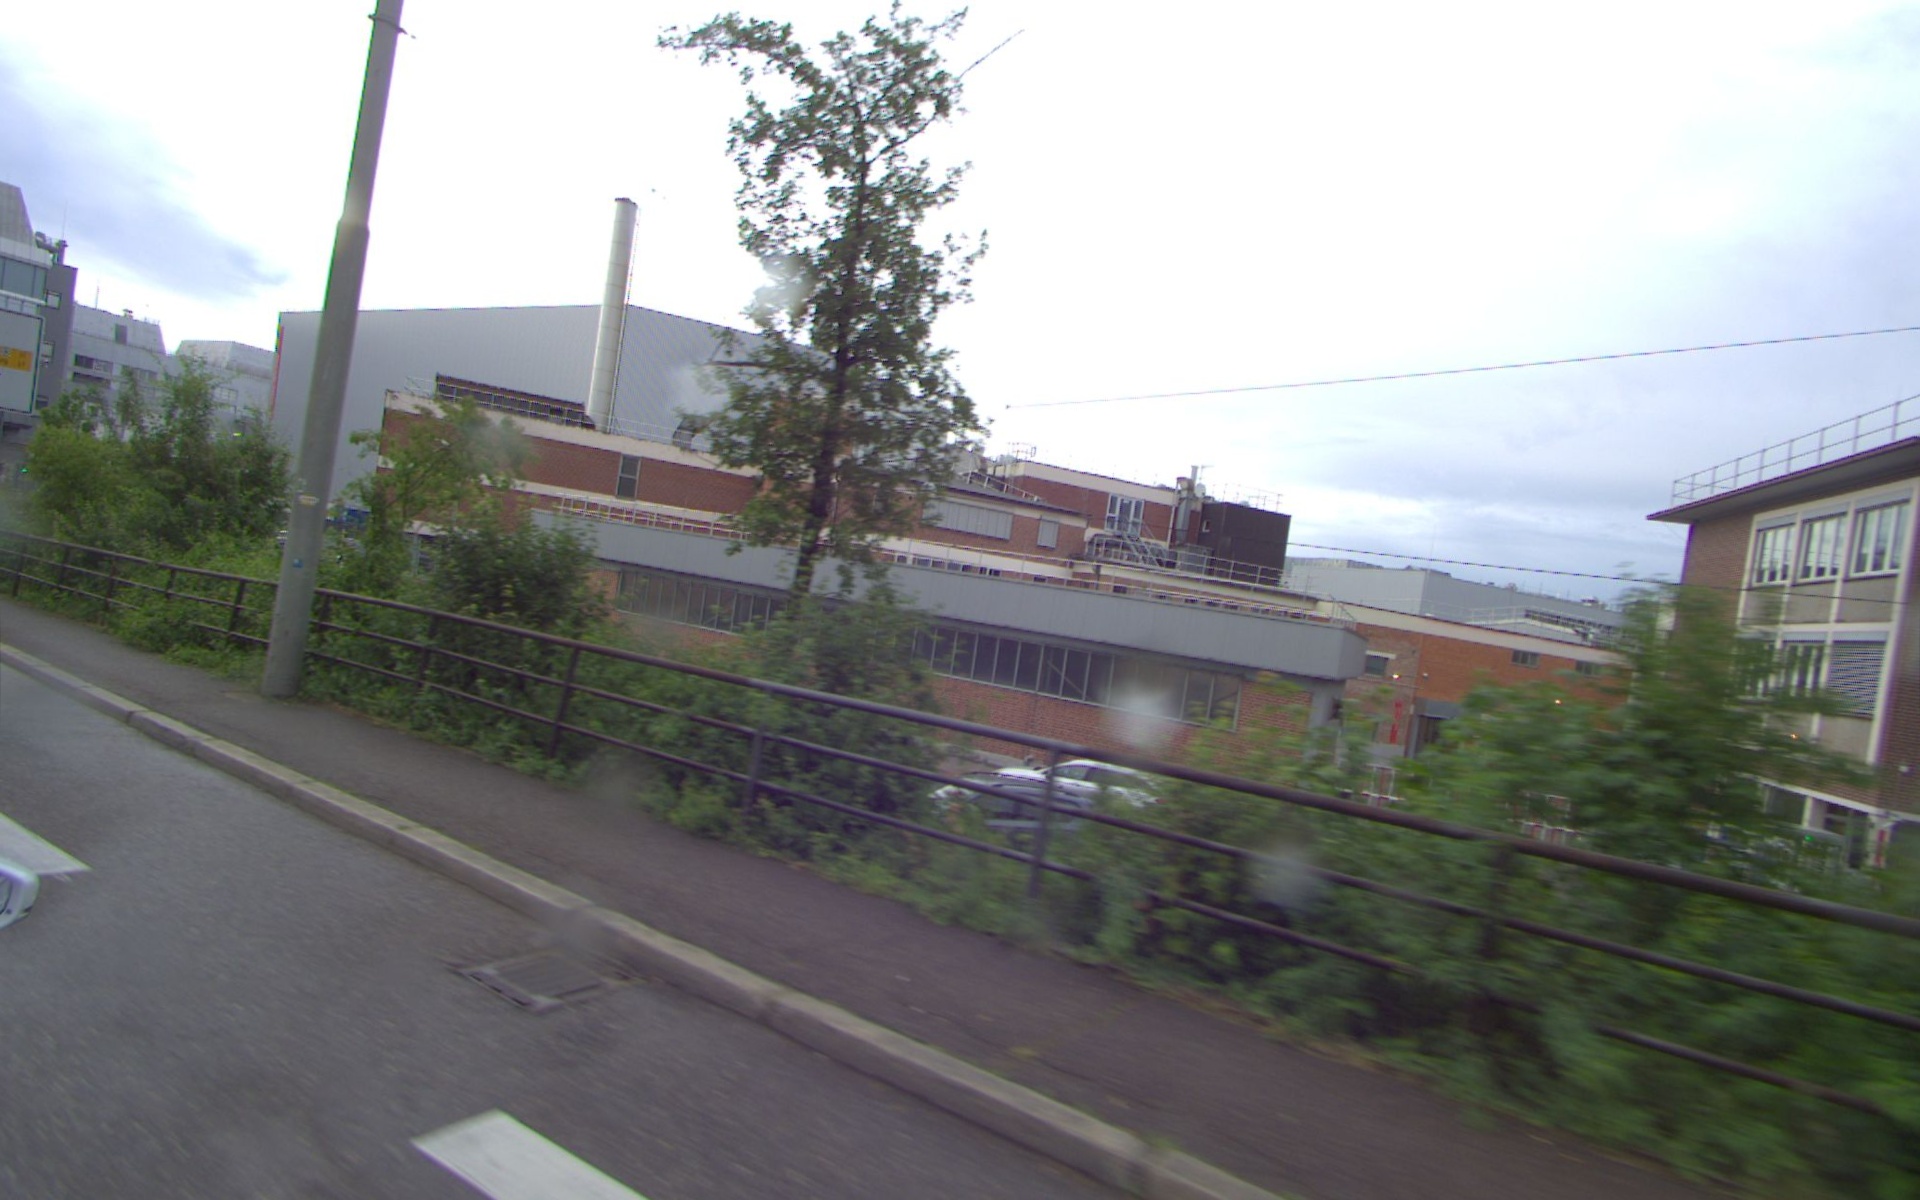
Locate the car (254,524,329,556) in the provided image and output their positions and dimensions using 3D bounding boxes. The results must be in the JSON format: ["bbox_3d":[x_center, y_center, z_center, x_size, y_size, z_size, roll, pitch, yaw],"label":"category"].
[{"bbox_3d":[-48.311,-4.333,72.780,3.924,1.620,1.904,9,-1,-17],"label":"car"}]

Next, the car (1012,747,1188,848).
[{"bbox_3d":[3.391,4.696,24.262,3.786,1.504,1.704,8,0,21],"label":"car"}]
